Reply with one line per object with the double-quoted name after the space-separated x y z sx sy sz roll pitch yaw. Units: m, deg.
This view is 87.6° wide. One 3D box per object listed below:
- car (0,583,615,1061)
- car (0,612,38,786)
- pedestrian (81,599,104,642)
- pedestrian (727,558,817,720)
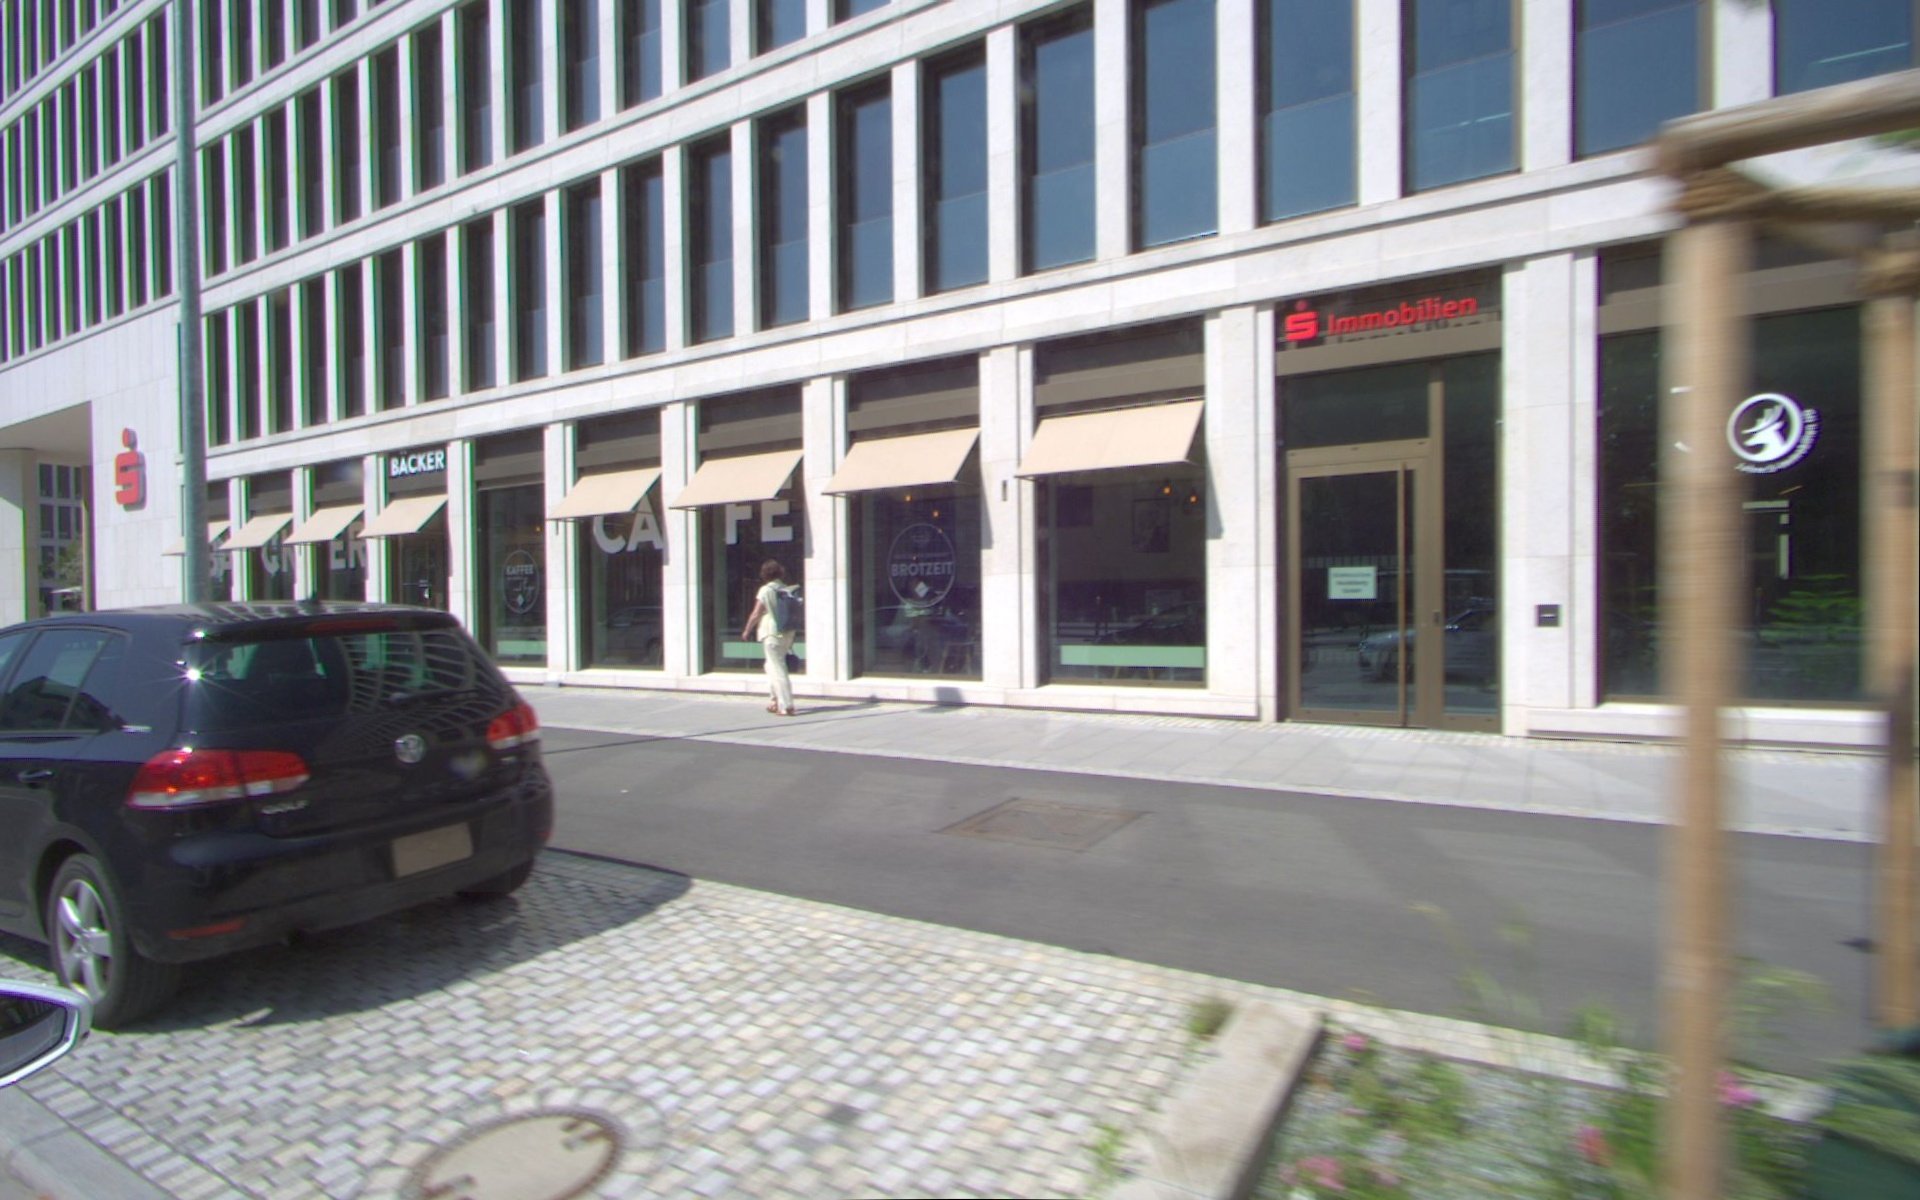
-3.792 0.725 4.907 3.918 1.495 1.734 0 3 28 "car"
-9.738 0.853 8.661 3.760 1.407 1.601 0 3 32 "car"
-41.462 0.978 47.857 0.613 2.040 0.642 0 0 32 "pedestrian"
-2.140 0.432 11.419 0.802 1.765 0.626 0 1 32 "pedestrian"
